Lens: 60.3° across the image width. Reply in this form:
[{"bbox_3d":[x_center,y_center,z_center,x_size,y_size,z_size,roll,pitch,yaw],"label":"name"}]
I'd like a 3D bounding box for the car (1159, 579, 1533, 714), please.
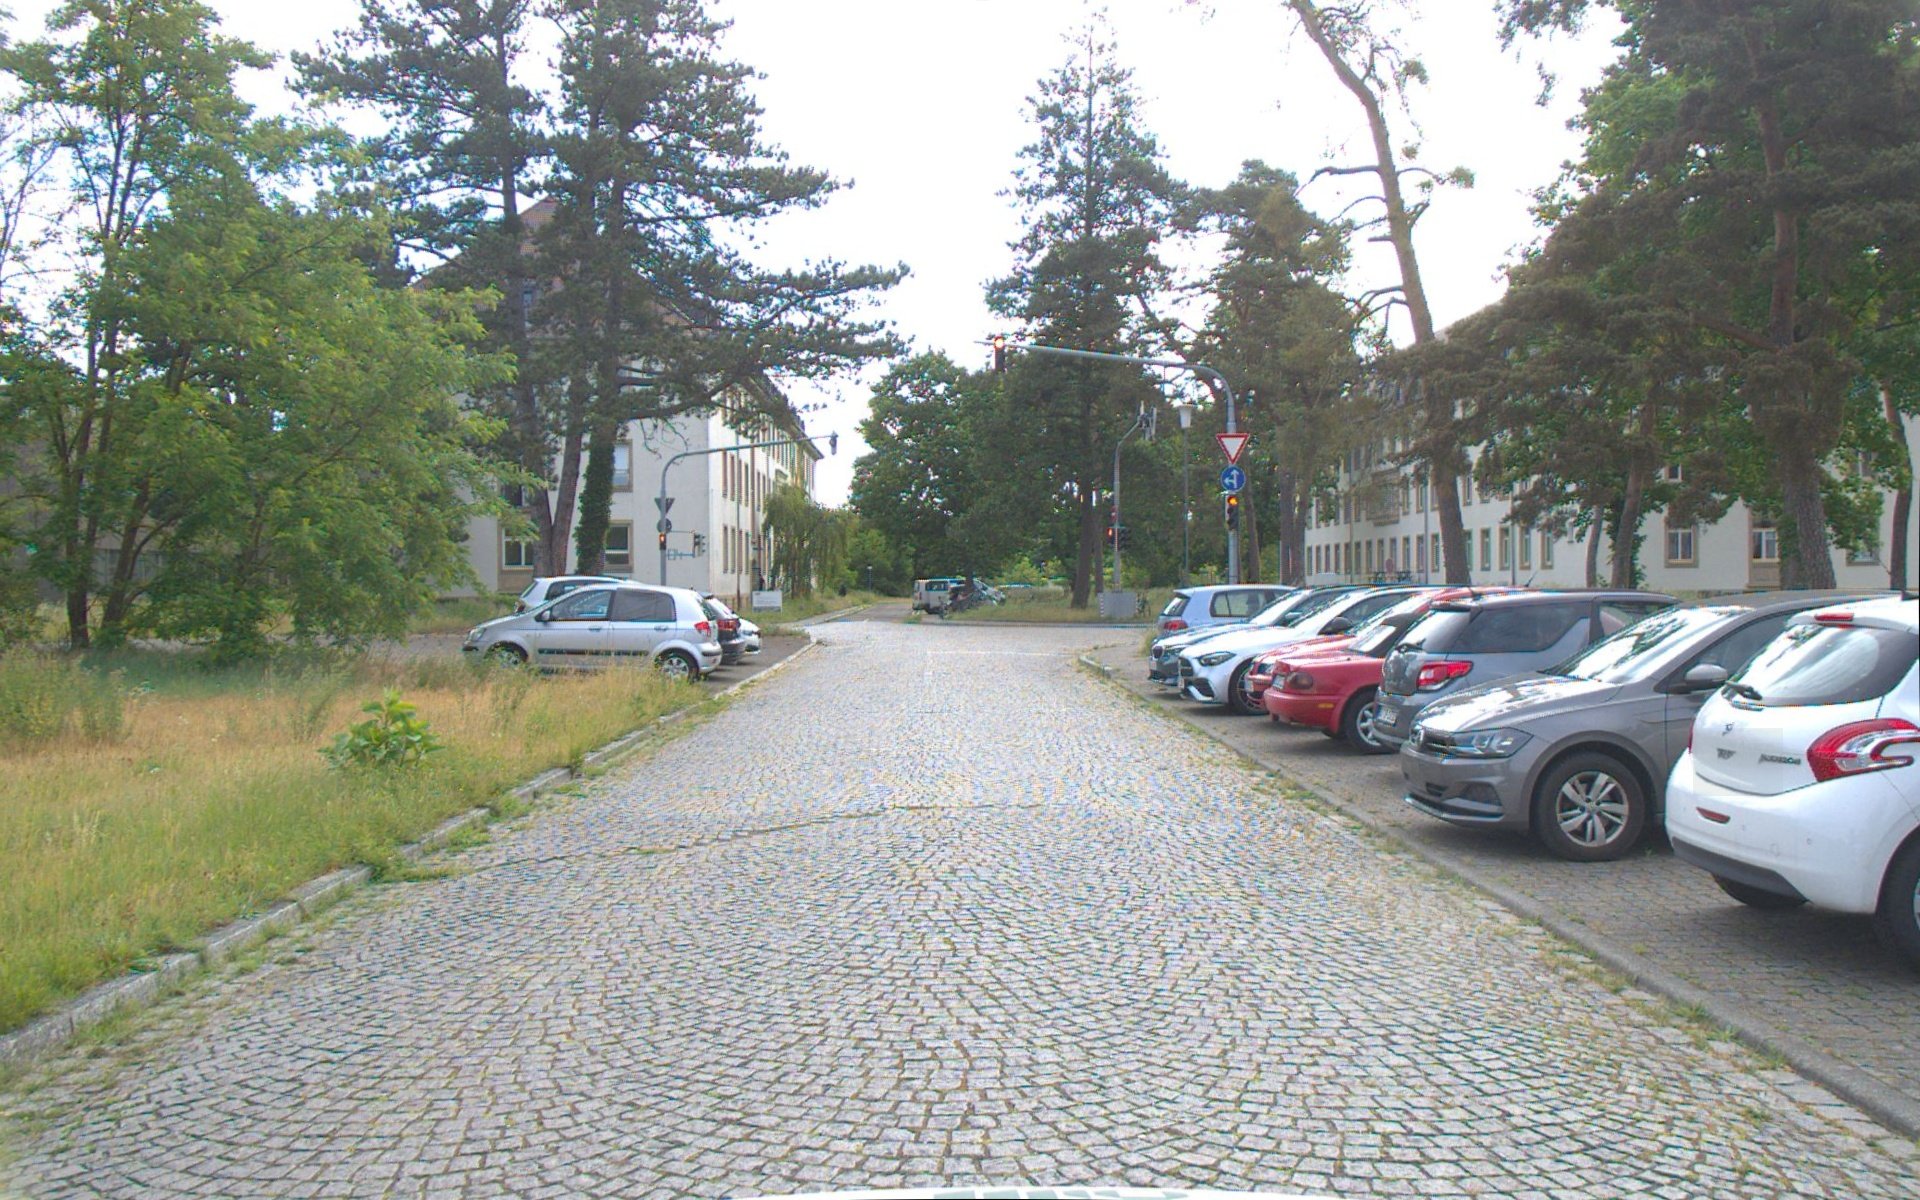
[{"bbox_3d":[4.679,0.521,20.322,4.107,1.462,1.752,-2,1,-8],"label":"car"}]

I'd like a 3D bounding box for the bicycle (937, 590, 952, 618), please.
[{"bbox_3d":[-0.697,0.180,73.007,0.649,1.191,1.887,1,0,-1],"label":"bicycle"}]

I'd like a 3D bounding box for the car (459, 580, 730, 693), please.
[{"bbox_3d":[-5.331,0.515,24.487,3.647,1.506,1.672,2,0,-4],"label":"car"}]

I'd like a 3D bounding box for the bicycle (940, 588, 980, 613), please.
[{"bbox_3d":[-0.002,0.000,81.154,1.845,1.191,0.664,1,0,-7],"label":"bicycle"}]

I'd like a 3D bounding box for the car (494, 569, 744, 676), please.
[{"bbox_3d":[-6.078,0.382,29.871,4.215,1.762,1.650,-1,1,-7],"label":"car"}]

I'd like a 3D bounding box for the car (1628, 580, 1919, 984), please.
[{"bbox_3d":[5.076,0.655,7.228,3.579,1.504,1.765,-1,1,-1],"label":"car"}]

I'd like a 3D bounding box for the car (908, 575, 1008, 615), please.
[{"bbox_3d":[-0.131,-0.298,92.458,5.284,2.138,2.171,-1,0,-14],"label":"car"}]

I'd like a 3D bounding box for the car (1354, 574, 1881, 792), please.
[{"bbox_3d":[5.038,0.595,13.000,3.434,1.513,1.743,-1,1,-2],"label":"car"}]

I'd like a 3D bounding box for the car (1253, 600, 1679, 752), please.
[{"bbox_3d":[4.675,0.681,15.618,3.513,1.244,1.628,-1,1,0],"label":"car"}]

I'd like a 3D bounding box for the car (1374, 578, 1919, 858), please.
[{"bbox_3d":[4.792,0.643,10.127,4.046,1.472,1.765,-1,1,-1],"label":"car"}]

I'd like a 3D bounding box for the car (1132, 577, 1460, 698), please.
[{"bbox_3d":[4.649,0.482,23.089,4.154,1.505,1.705,-2,1,-12],"label":"car"}]

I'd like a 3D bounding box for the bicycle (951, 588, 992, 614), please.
[{"bbox_3d":[0.556,0.028,77.669,1.845,1.191,0.664,1,0,-7],"label":"bicycle"}]

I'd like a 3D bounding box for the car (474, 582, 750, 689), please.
[{"bbox_3d":[-5.601,0.546,27.078,4.216,1.581,1.809,-1,1,-7],"label":"car"}]

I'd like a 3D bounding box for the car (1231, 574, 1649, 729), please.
[{"bbox_3d":[5.123,0.518,17.970,4.023,1.502,1.684,-1,1,-3],"label":"car"}]

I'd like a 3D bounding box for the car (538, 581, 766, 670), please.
[{"bbox_3d":[-5.935,0.474,32.329,4.216,1.581,1.809,-1,1,-7],"label":"car"}]

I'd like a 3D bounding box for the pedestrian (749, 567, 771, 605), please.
[{"bbox_3d":[-10.855,-0.757,89.917,1.052,1.993,1.121,1,0,-1],"label":"pedestrian"}]

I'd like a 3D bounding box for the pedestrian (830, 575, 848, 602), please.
[{"bbox_3d":[-8.912,-0.861,121.766,1.215,1.993,1.120,1,0,-6],"label":"pedestrian"}]

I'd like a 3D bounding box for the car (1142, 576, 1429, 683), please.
[{"bbox_3d":[5.000,0.430,25.650,4.056,1.489,1.631,-1,1,-7],"label":"car"}]

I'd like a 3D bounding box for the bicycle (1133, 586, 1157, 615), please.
[{"bbox_3d":[6.991,0.018,62.544,0.649,1.069,1.887,1,1,-1],"label":"bicycle"}]
